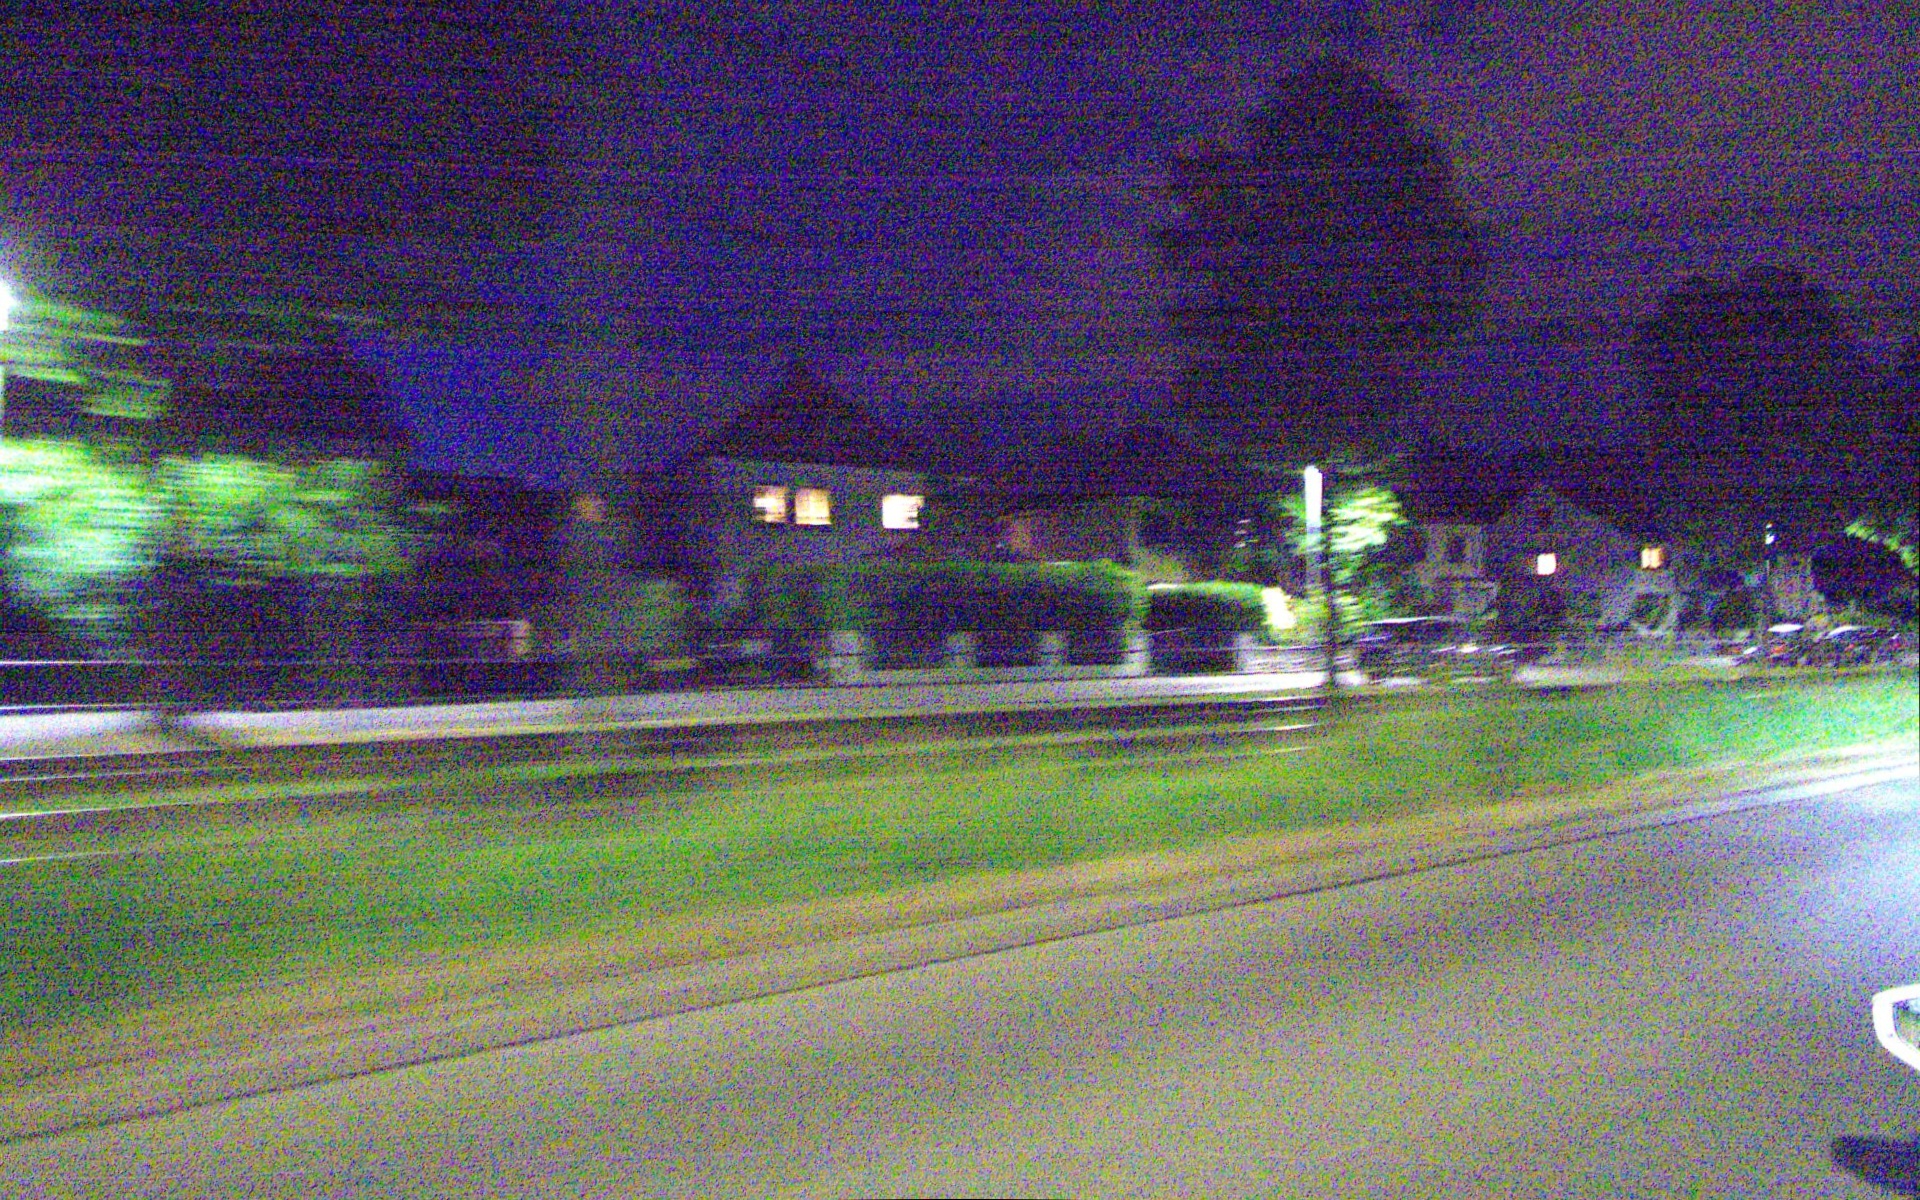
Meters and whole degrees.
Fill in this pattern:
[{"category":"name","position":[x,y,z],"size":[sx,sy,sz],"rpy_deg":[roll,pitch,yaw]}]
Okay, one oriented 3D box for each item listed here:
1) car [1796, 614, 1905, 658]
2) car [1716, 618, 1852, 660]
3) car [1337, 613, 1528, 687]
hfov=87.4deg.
[{"category":"car","position":[33.322,1.319,37.568],"size":[3.955,1.550,1.983],"rpy_deg":[0,-1,-31]},{"category":"car","position":[28.239,1.315,34.367],"size":[5.370,1.356,1.983],"rpy_deg":[1,-1,-32]},{"category":"car","position":[11.606,1.180,24.637],"size":[4.621,1.649,1.984],"rpy_deg":[1,-1,-30]}]
